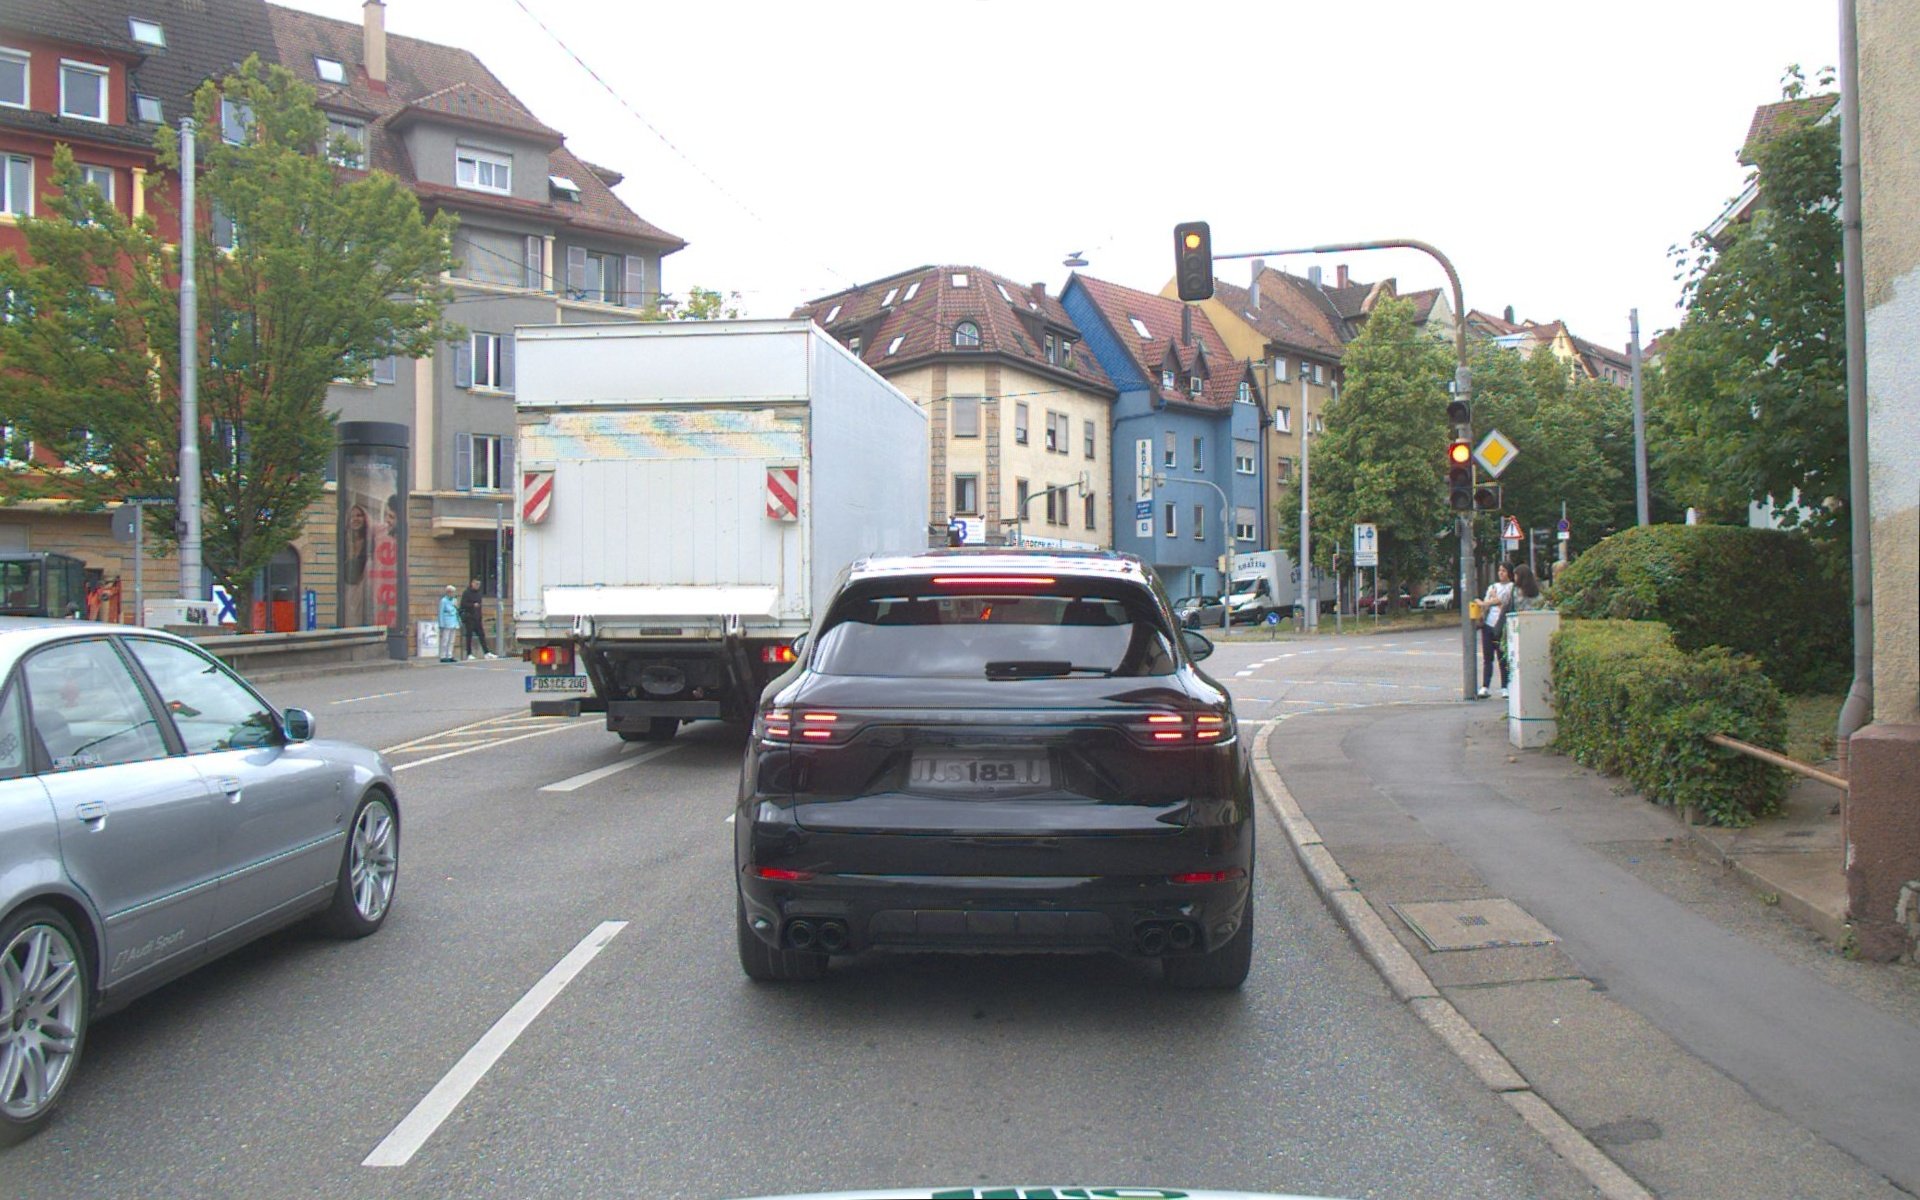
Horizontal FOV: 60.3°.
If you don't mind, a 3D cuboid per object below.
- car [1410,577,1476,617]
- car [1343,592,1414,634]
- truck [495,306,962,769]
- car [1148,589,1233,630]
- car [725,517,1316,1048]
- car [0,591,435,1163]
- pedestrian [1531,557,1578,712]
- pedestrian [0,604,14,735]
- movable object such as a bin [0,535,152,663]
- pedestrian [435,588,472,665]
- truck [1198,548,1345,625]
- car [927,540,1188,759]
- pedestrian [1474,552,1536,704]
[{"bbox_3d":[26.807,-0.167,91.804,1.965,2.049,3.975,2,0,42],"label":"car"},{"bbox_3d":[21.899,0.679,86.475,1.965,2.049,3.975,2,0,42],"label":"car"},{"bbox_3d":[-1.863,-0.547,17.176,2.710,3.637,8.071,1,1,8],"label":"truck"},{"bbox_3d":[10.077,0.398,72.069,1.961,1.713,3.982,0,0,38],"label":"car"},{"bbox_3d":[0.088,0.562,7.399,1.939,1.713,3.997,0,1,-4],"label":"car"},{"bbox_3d":[-3.257,0.699,5.521,1.661,1.397,4.178,0,1,0],"label":"car"},{"bbox_3d":[7.274,0.417,20.230,0.453,1.869,0.324,2,-1,14],"label":"pedestrian"},{"bbox_3d":[-13.284,0.936,22.570,0.537,1.760,0.586,2,-1,-35],"label":"pedestrian"},{"bbox_3d":[-14.020,-0.030,25.550,1.870,1.802,3.986,2,0,-14],"label":"movable object such as a bin"},{"bbox_3d":[-10.661,0.557,34.801,0.577,1.594,0.486,2,-1,-1],"label":"pedestrian"},{"bbox_3d":[14.931,-0.600,78.730,2.830,3.398,8.744,2,0,41],"label":"truck"},{"bbox_3d":[1.033,0.388,15.077,1.951,1.713,4.003,0,0,10],"label":"car"},{"bbox_3d":[6.779,0.345,20.593,0.577,1.851,0.529,2,-1,4],"label":"pedestrian"}]
